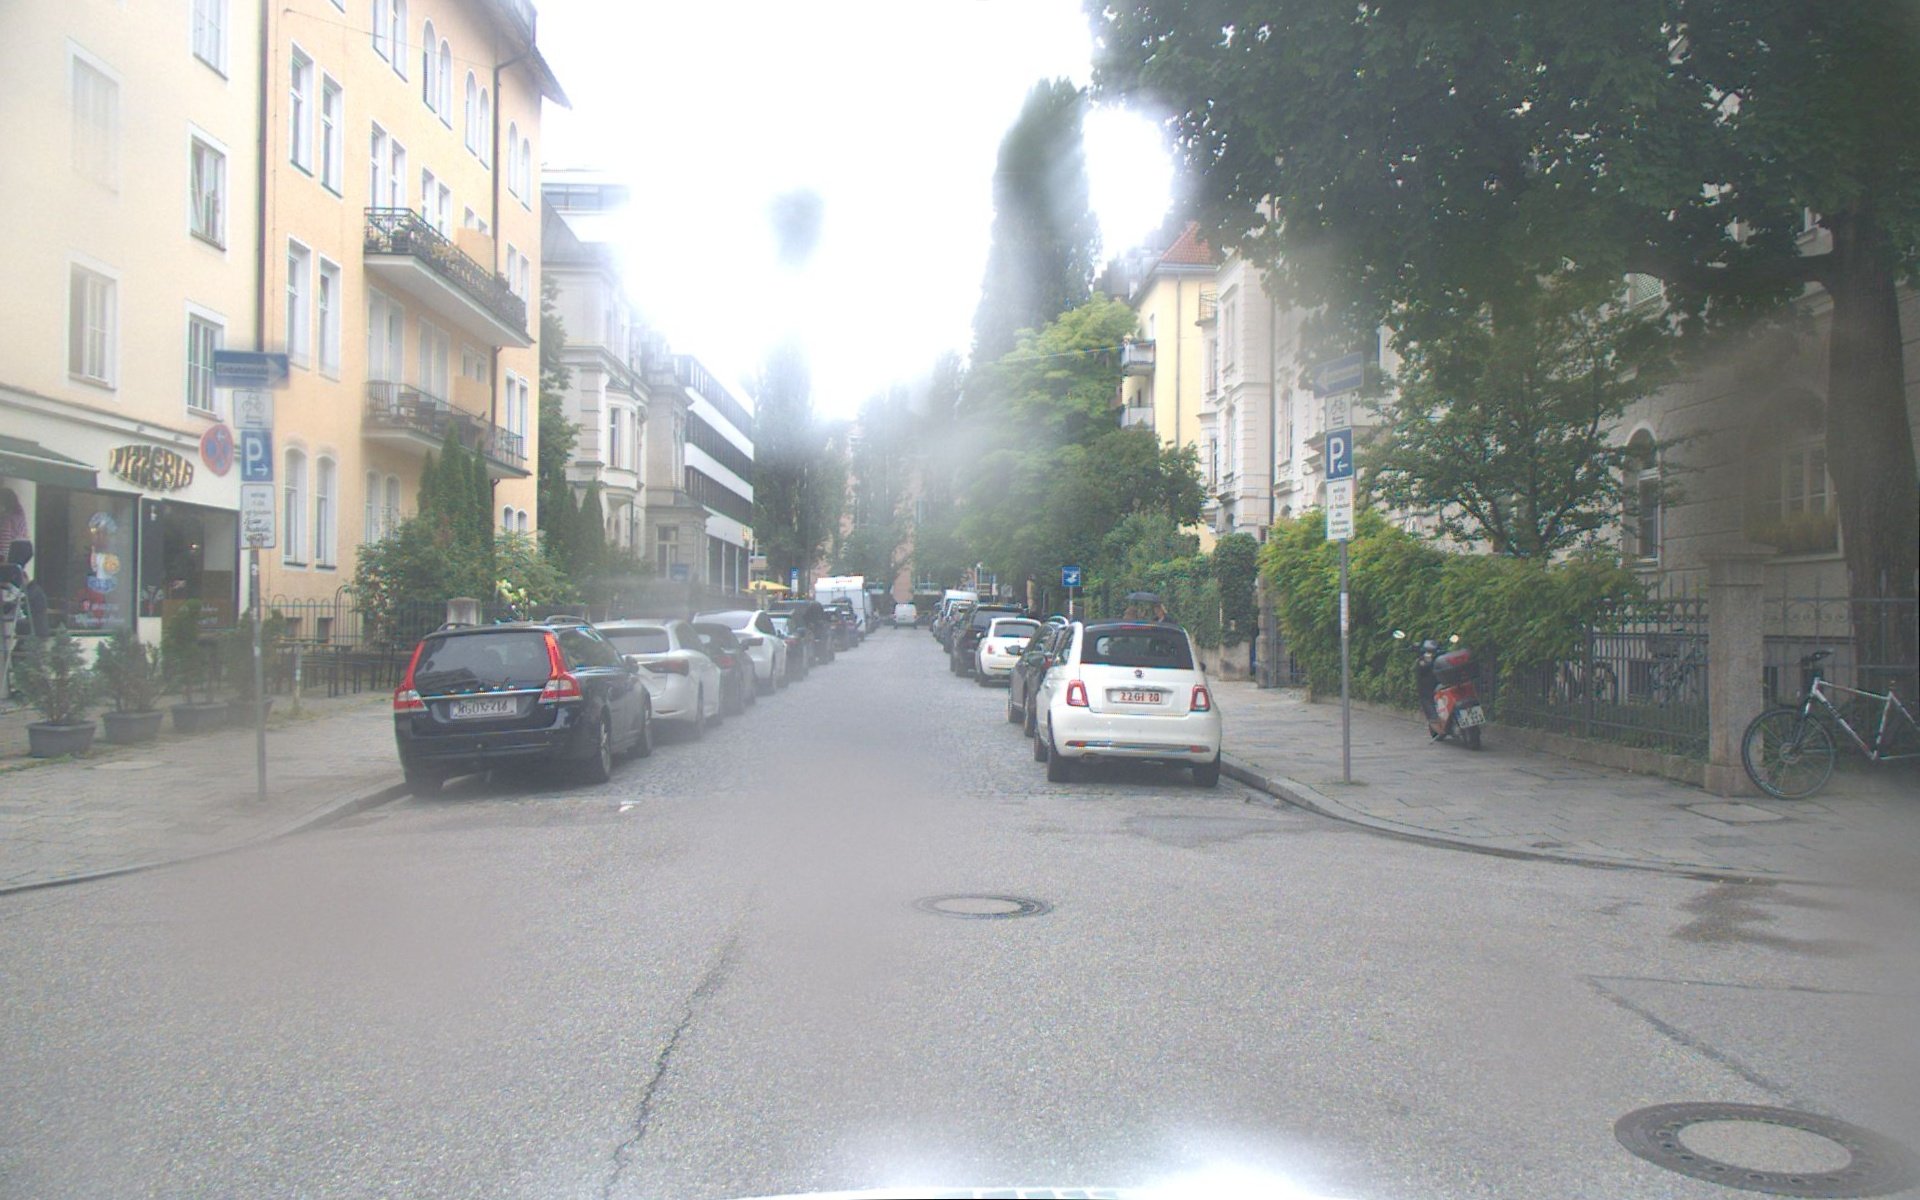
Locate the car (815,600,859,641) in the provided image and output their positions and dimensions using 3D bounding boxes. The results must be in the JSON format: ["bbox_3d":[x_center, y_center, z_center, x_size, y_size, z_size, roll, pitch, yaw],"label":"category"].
[{"bbox_3d":[-5.439,0.890,73.481,1.856,1.781,4.165,-1,0,-3],"label":"car"}]

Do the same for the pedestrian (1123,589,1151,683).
[{"bbox_3d":[3.579,0.717,33.419,0.563,1.882,0.682,0,-1,6],"label":"pedestrian"}]

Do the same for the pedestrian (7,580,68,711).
[{"bbox_3d":[-12.277,0.606,22.020,0.452,1.720,0.574,1,-1,-2],"label":"pedestrian"}]

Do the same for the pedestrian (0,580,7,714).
[{"bbox_3d":[-12.249,0.580,20.472,0.511,1.671,0.629,1,-1,-2],"label":"pedestrian"}]

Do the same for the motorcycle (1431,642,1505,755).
[{"bbox_3d":[5.301,1.004,17.309,0.355,1.109,1.403,1,-1,1],"label":"motorcycle"}]

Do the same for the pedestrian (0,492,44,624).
[{"bbox_3d":[-12.181,-0.532,21.271,0.467,1.671,0.497,1,-1,2],"label":"pedestrian"}]

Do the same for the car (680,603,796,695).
[{"bbox_3d":[-4.311,0.940,32.734,1.737,1.676,4.390,1,-1,-1],"label":"car"}]

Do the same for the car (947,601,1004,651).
[{"bbox_3d":[0.552,0.979,62.917,1.923,1.790,4.951,1,-1,-2],"label":"car"}]

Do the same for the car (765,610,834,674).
[{"bbox_3d":[-4.331,1.124,45.067,1.548,1.618,4.054,-2,-1,-1],"label":"car"}]

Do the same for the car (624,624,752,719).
[{"bbox_3d":[-4.292,1.091,26.637,1.739,1.383,4.385,1,-1,-6],"label":"car"}]

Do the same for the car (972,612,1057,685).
[{"bbox_3d":[1.175,1.052,36.950,1.597,1.495,3.657,2,-1,-2],"label":"car"}]

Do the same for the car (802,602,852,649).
[{"bbox_3d":[-5.051,0.971,63.327,1.738,1.748,4.388,1,-1,-3],"label":"car"}]

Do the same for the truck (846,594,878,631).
[{"bbox_3d":[-6.414,0.837,108.582,1.953,2.388,4.066,1,-1,-2],"label":"truck"}]

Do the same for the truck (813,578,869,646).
[{"bbox_3d":[-5.671,0.559,79.813,2.458,3.085,6.381,-2,0,-3],"label":"truck"}]

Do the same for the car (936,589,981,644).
[{"bbox_3d":[-0.122,0.766,81.331,1.857,2.469,5.608,4,0,-2],"label":"car"}]

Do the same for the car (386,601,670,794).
[{"bbox_3d":[-4.120,0.844,16.570,1.815,1.614,4.745,1,0,-3],"label":"car"}]

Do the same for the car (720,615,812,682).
[{"bbox_3d":[-4.492,1.103,38.796,1.738,1.454,4.389,1,-1,-2],"label":"car"}]

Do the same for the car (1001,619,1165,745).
[{"bbox_3d":[1.570,1.046,22.613,1.615,1.447,4.629,4,-1,-3],"label":"car"}]

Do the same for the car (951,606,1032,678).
[{"bbox_3d":[0.753,1.040,42.467,1.837,1.702,5.489,1,-1,-1],"label":"car"}]

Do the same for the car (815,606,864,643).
[{"bbox_3d":[-4.977,1.026,68.697,1.901,1.485,4.055,1,-1,-3],"label":"car"}]

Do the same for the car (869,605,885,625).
[{"bbox_3d":[-6.754,1.251,134.580,1.251,1.568,3.117,1,-1,-2],"label":"car"}]

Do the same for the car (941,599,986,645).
[{"bbox_3d":[0.138,1.011,75.794,1.764,1.983,4.857,3,-1,-2],"label":"car"}]

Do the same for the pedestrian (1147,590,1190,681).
[{"bbox_3d":[4.261,0.719,33.874,0.620,1.840,0.655,1,-1,-25],"label":"pedestrian"}]

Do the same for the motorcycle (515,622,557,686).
[{"bbox_3d":[-8.436,1.064,32.974,0.481,1.215,1.578,0,0,-2],"label":"motorcycle"}]

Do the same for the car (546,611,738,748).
[{"bbox_3d":[-4.000,0.957,21.485,1.738,1.563,4.538,-1,-1,-2],"label":"car"}]

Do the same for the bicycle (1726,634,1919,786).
[{"bbox_3d":[7.026,0.846,12.929,1.798,1.144,0.563,0,-1,8],"label":"bicycle"}]

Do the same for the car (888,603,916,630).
[{"bbox_3d":[-4.393,1.271,125.807,1.956,1.970,3.999,0,-1,0],"label":"car"}]

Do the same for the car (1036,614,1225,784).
[{"bbox_3d":[1.599,0.903,16.553,1.471,1.497,3.794,0,-1,-1],"label":"car"}]

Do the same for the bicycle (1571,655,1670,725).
[{"bbox_3d":[8.569,1.148,21.544,0.481,0.826,2.274,1,-1,3],"label":"bicycle"}]
